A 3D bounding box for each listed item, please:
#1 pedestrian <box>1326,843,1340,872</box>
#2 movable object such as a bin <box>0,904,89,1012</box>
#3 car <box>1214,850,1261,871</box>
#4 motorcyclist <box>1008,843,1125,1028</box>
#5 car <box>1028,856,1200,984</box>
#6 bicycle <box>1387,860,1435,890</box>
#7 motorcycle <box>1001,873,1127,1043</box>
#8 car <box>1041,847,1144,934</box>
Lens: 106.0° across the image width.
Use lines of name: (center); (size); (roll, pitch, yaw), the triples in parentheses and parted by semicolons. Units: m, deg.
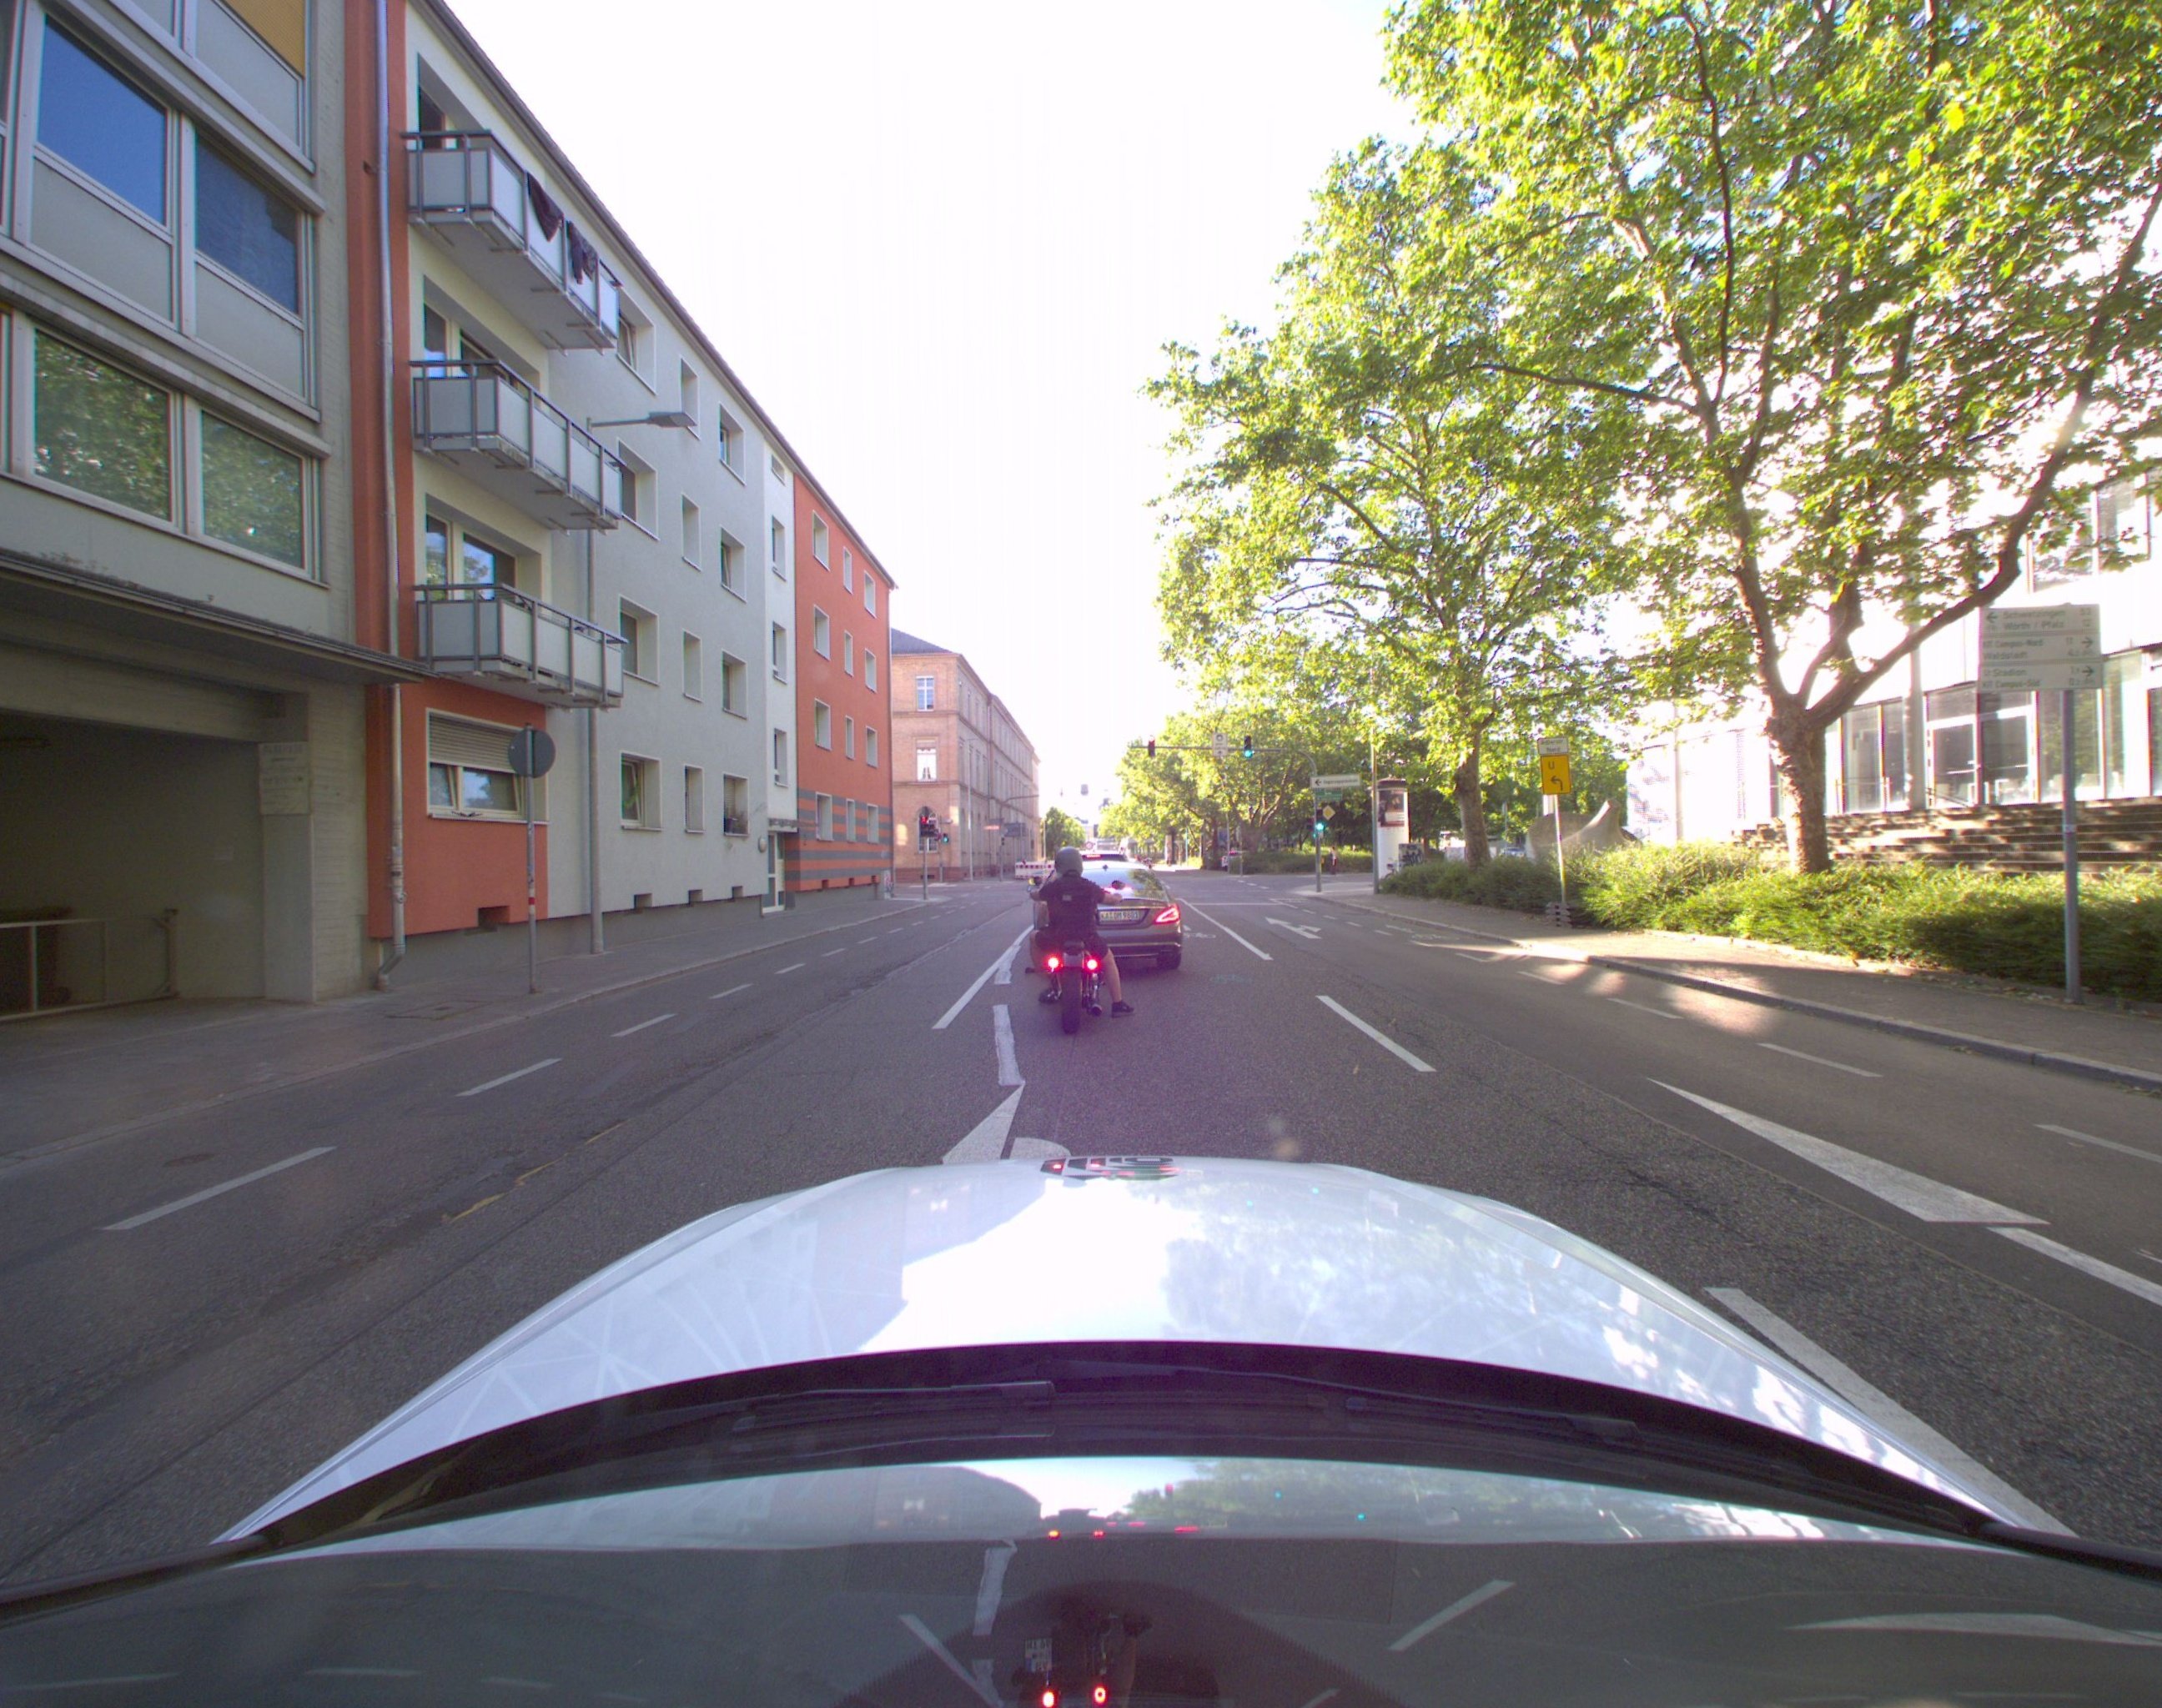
pedestrian: (15.597, 0.219, 50.368); (0.671, 1.772, 0.621); (-1, -1, 31)
movable object such as a bin: (-11.296, 1.090, 8.660); (0.639, 1.065, 0.675); (-1, 0, 1)
car: (13.286, 0.534, 69.068); (1.924, 1.708, 4.511); (0, 0, 41)
motorcyclist: (-0.105, 0.706, 7.679); (0.977, 1.578, 1.249); (-1, 0, 1)
car: (0.257, 0.772, 11.757); (1.867, 1.444, 4.421); (-1, 0, -6)
bicycle: (11.073, 0.710, 27.335); (1.475, 0.980, 0.300); (0, -1, 7)
motorcycle: (-0.099, 0.857, 7.703); (0.977, 1.275, 2.408); (-1, 0, 2)
car: (0.283, 0.724, 17.684); (1.986, 1.665, 4.001); (0, -1, 2)
